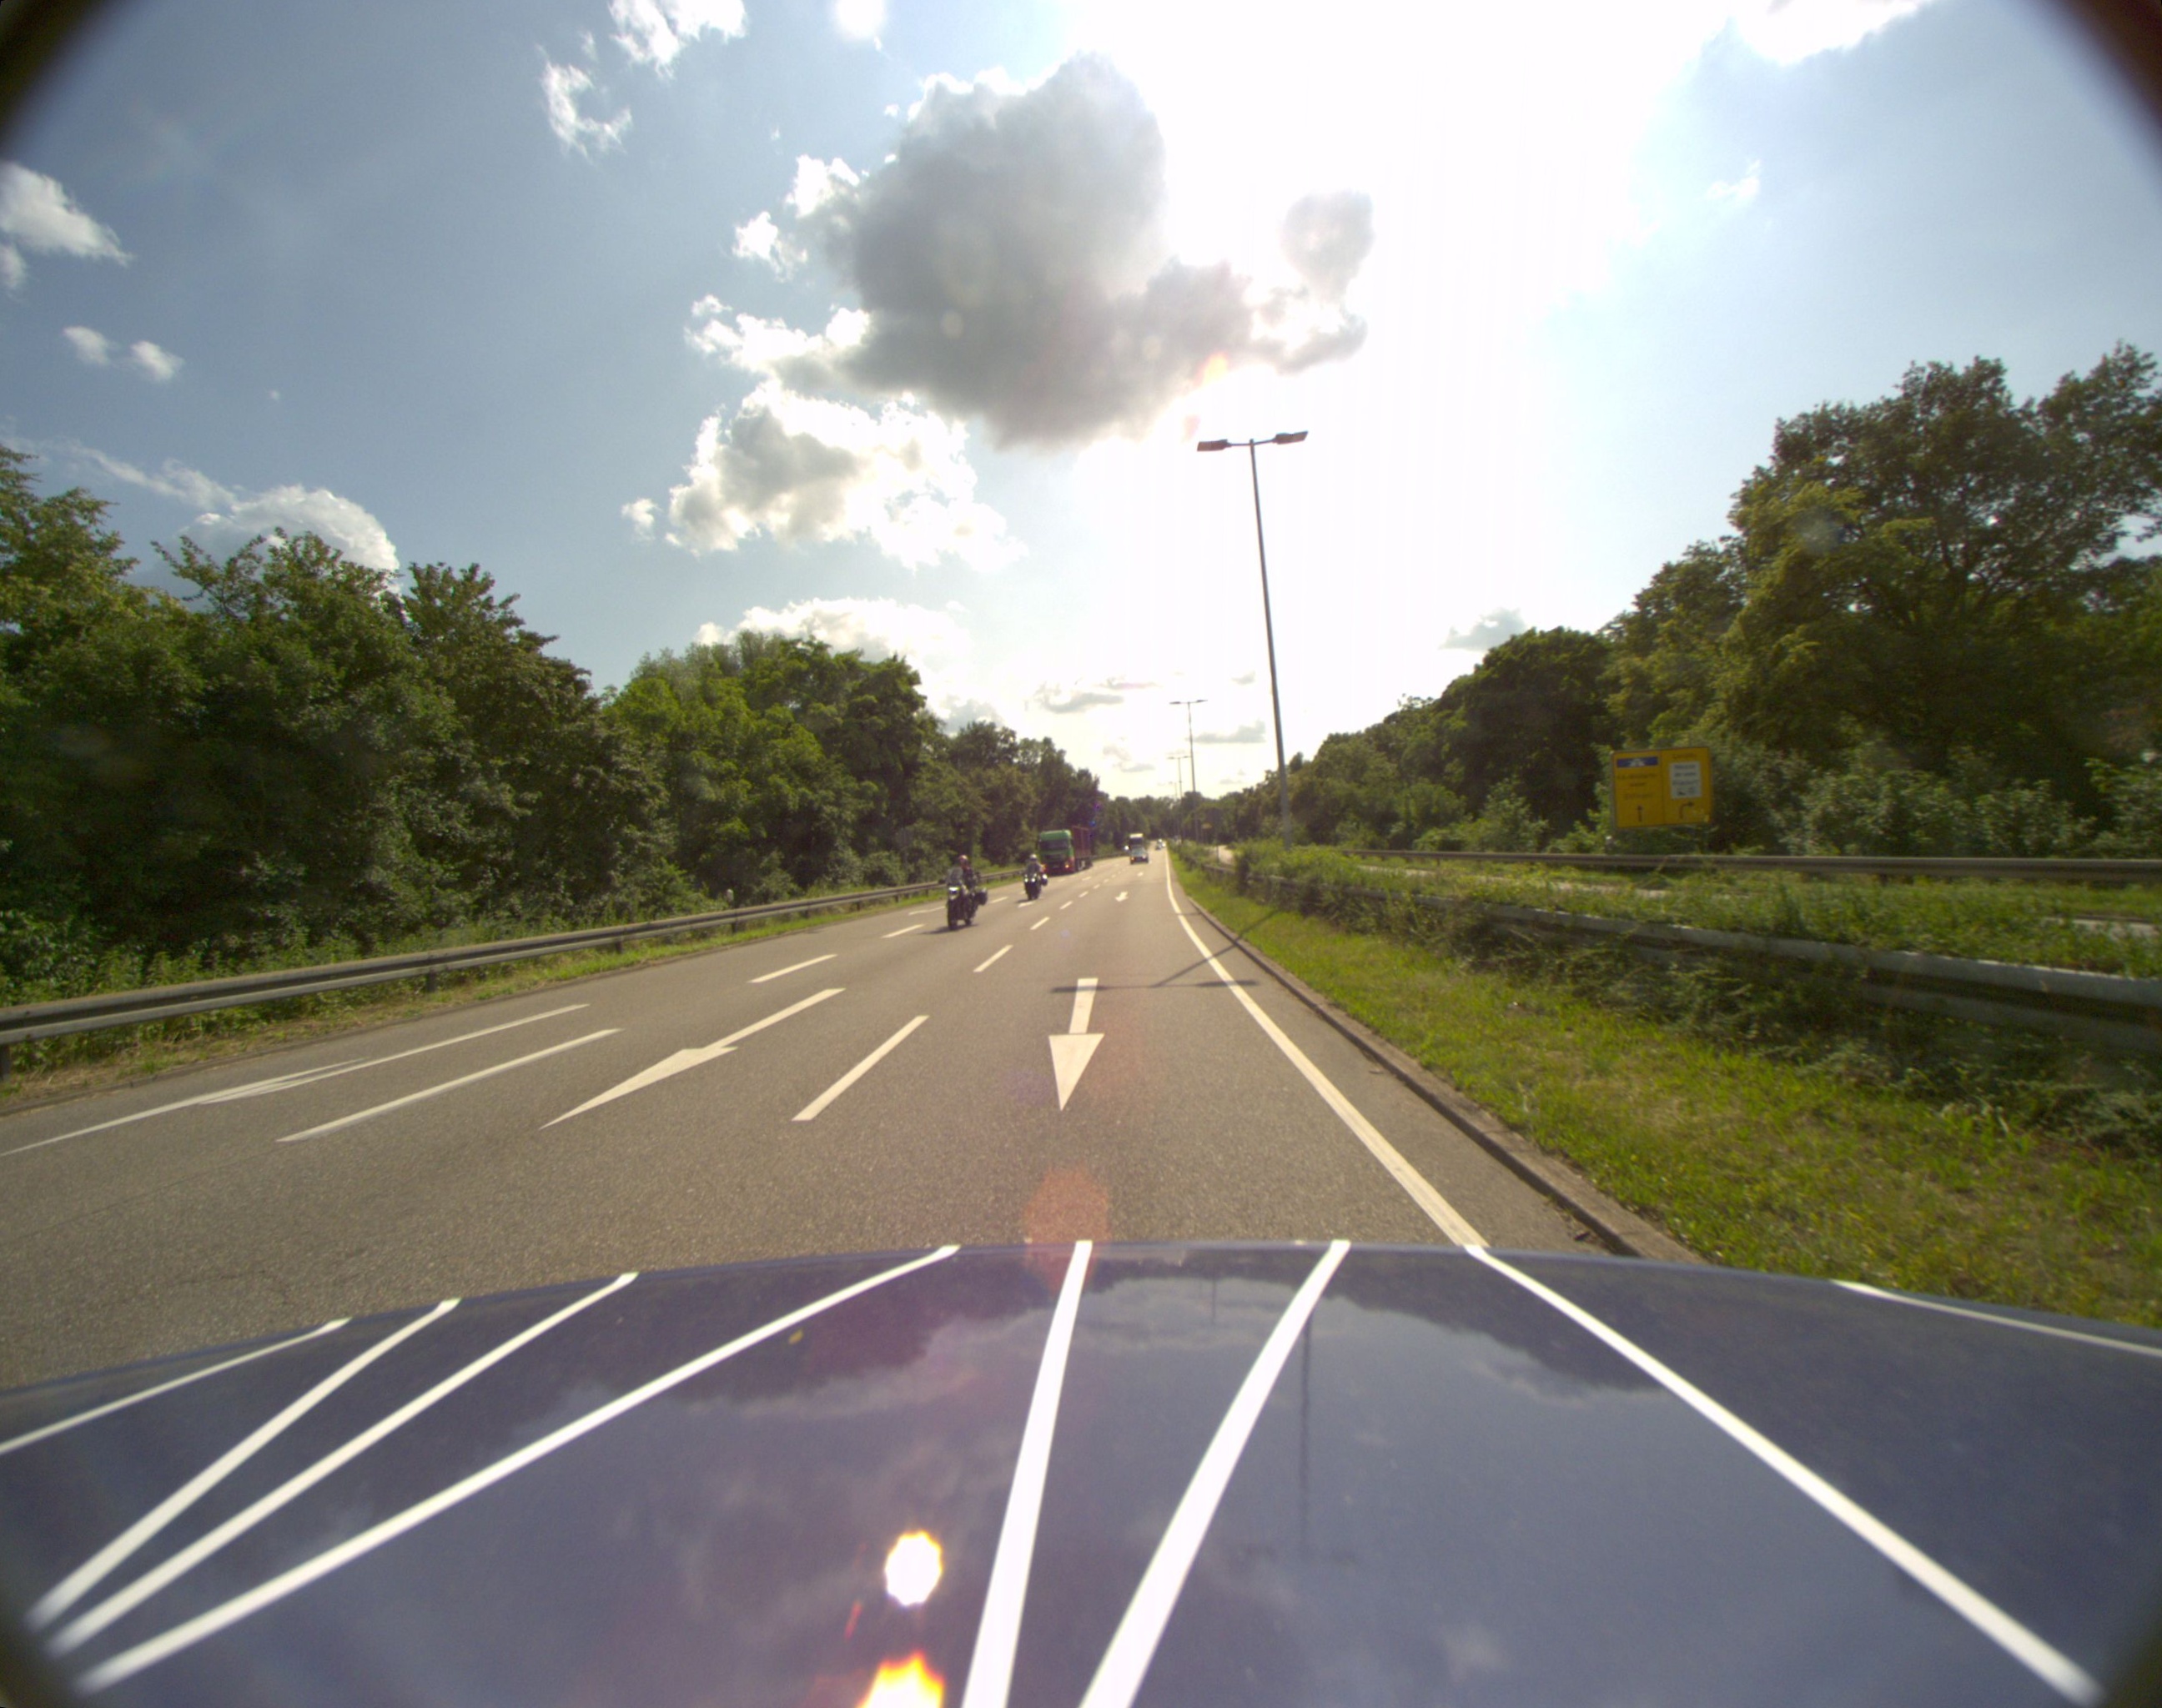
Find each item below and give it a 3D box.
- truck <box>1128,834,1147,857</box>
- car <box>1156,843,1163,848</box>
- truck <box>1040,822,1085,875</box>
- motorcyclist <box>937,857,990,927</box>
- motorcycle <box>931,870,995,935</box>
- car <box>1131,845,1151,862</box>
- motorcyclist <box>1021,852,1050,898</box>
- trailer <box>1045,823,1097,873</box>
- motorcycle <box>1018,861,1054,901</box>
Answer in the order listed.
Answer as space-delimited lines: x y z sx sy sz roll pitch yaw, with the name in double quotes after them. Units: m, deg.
10.973 -1.620 146.138 2.689 3.948 7.387 -5 0 9 "truck"
22.282 -2.374 215.466 1.796 1.368 4.002 -3 0 7 "car"
-1.430 -0.461 61.623 2.590 3.871 6.064 -5 0 6 "truck"
-2.797 0.879 18.222 0.939 1.581 1.083 -3 0 4 "motorcyclist"
-2.784 1.115 18.259 0.939 1.375 2.371 -3 0 4 "motorcycle"
5.970 -0.065 75.462 1.735 1.468 4.049 -3 0 7 "car"
-1.701 0.778 28.691 0.867 1.690 0.895 -3 0 7 "motorcyclist"
-0.667 -0.531 68.659 2.590 3.871 14.507 -5 0 6 "trailer"
-1.689 1.004 28.721 0.867 1.381 2.371 -3 0 7 "motorcycle"
